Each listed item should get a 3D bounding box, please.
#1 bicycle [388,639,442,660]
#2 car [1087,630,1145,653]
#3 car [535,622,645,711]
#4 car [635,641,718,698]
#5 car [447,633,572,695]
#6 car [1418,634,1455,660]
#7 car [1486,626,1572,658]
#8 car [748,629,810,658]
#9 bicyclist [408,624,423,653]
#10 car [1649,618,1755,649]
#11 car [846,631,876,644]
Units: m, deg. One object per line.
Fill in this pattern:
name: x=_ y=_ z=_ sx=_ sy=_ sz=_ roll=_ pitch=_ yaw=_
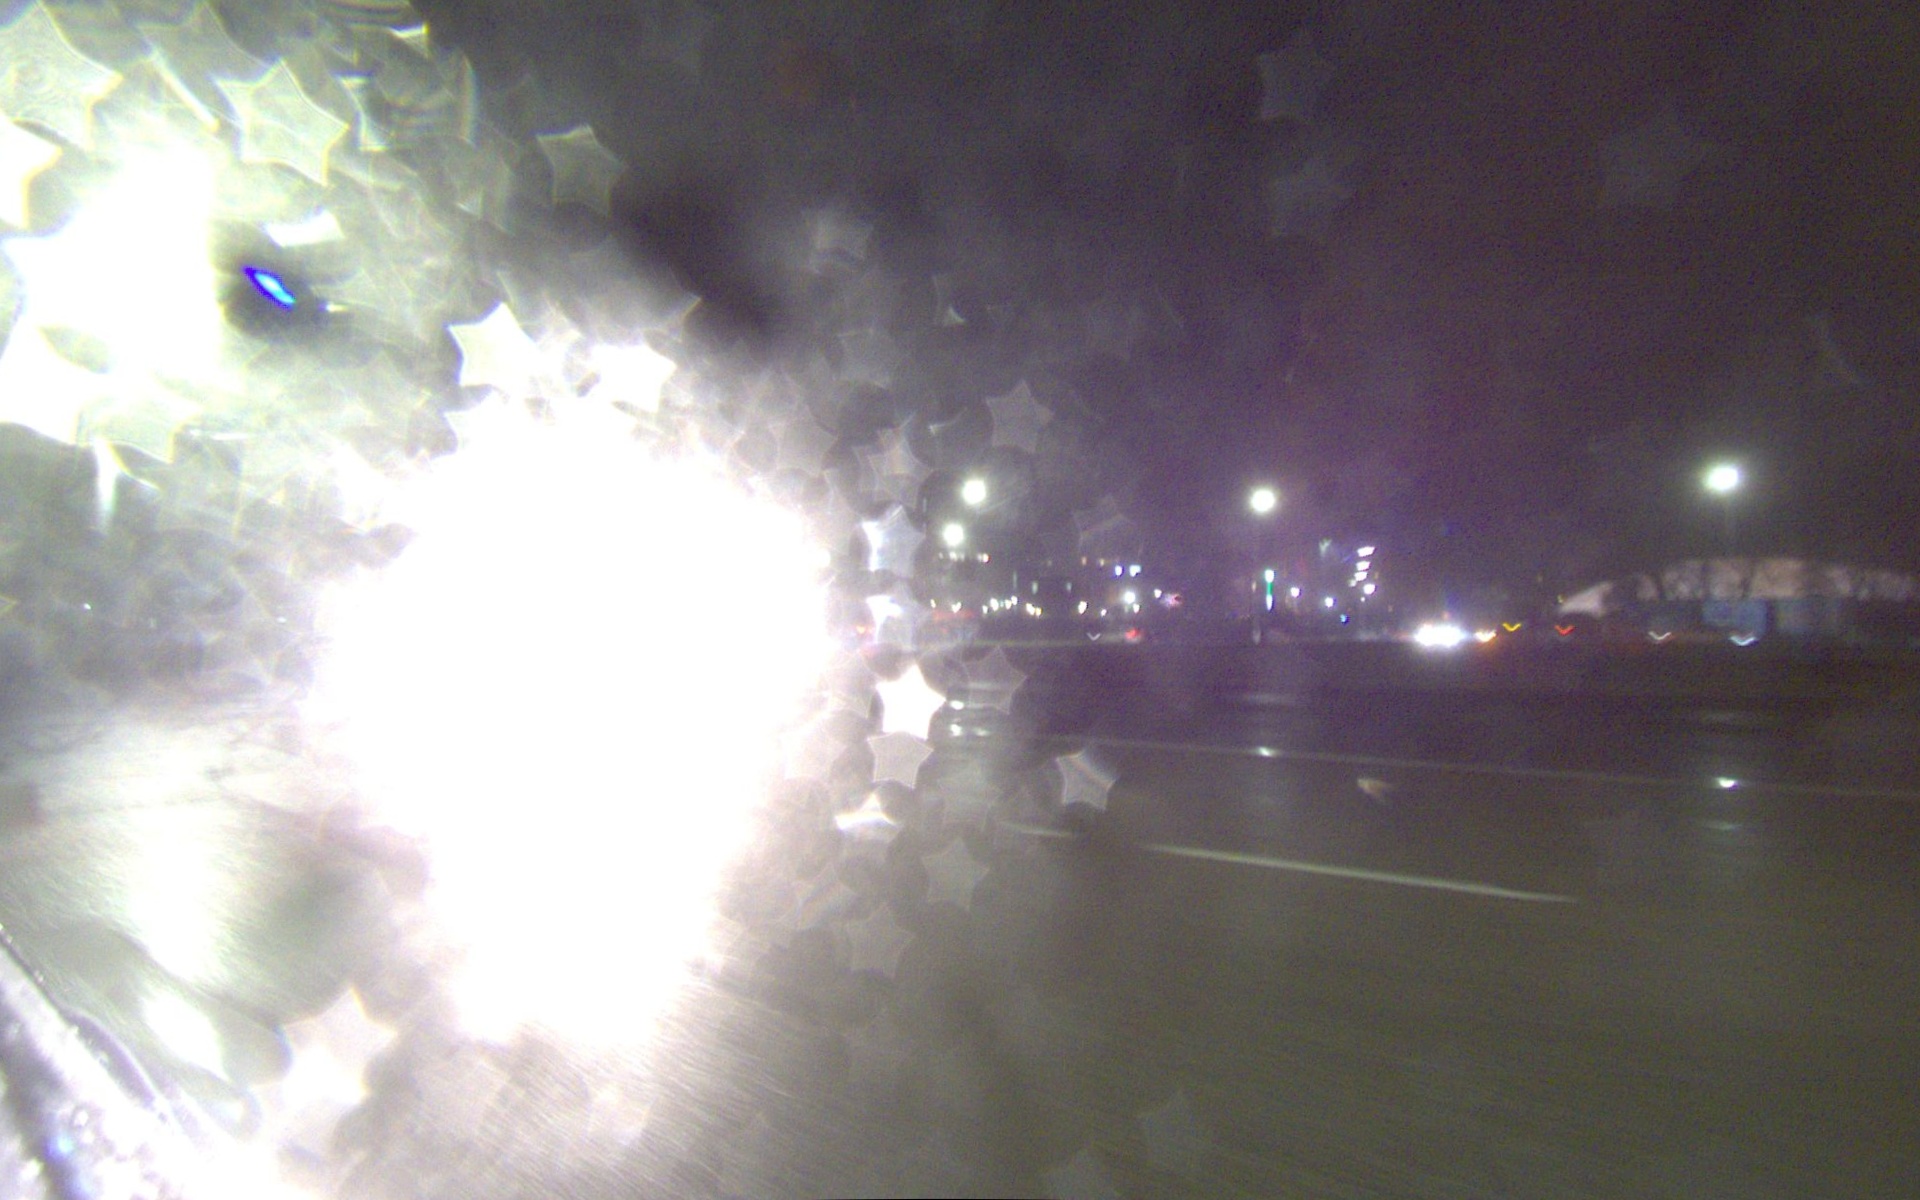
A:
bicycle: x=-28.330 y=2.569 z=52.626 sx=2.380 sy=0.984 sz=0.623 roll=-1 pitch=-2 yaw=-22
car: x=11.546 y=3.083 z=74.975 sx=3.873 sy=1.630 sz=1.748 roll=-3 pitch=-2 yaw=43
car: x=-7.352 y=1.258 z=20.495 sx=1.804 sy=1.538 sz=4.889 roll=-1 pitch=-1 yaw=-17
car: x=-9.707 y=2.336 z=34.949 sx=1.808 sy=1.719 sz=4.196 roll=-2 pitch=-1 yaw=-2
car: x=-14.198 y=1.965 z=32.172 sx=1.925 sy=1.732 sz=4.440 roll=-2 pitch=-1 yaw=1
car: x=32.223 y=3.183 z=68.525 sx=1.745 sy=1.586 sz=3.976 roll=-2 pitch=-1 yaw=18
car: x=30.544 y=2.250 z=54.469 sx=3.852 sy=1.630 sz=1.757 roll=-2 pitch=-2 yaw=26
car: x=-11.192 y=2.687 z=62.839 sx=1.939 sy=1.634 sz=3.919 roll=-2 pitch=-2 yaw=22
bicyclist: x=-28.327 y=1.990 z=52.674 sx=0.595 sy=1.458 sz=0.618 roll=-1 pitch=-2 yaw=-21
car: x=37.771 y=1.717 z=51.573 sx=1.805 sy=1.455 sz=4.022 roll=0 pitch=-2 yaw=-43
car: x=-11.165 y=4.188 z=113.793 sx=1.799 sy=1.383 sz=3.959 roll=-1 pitch=-2 yaw=-31
